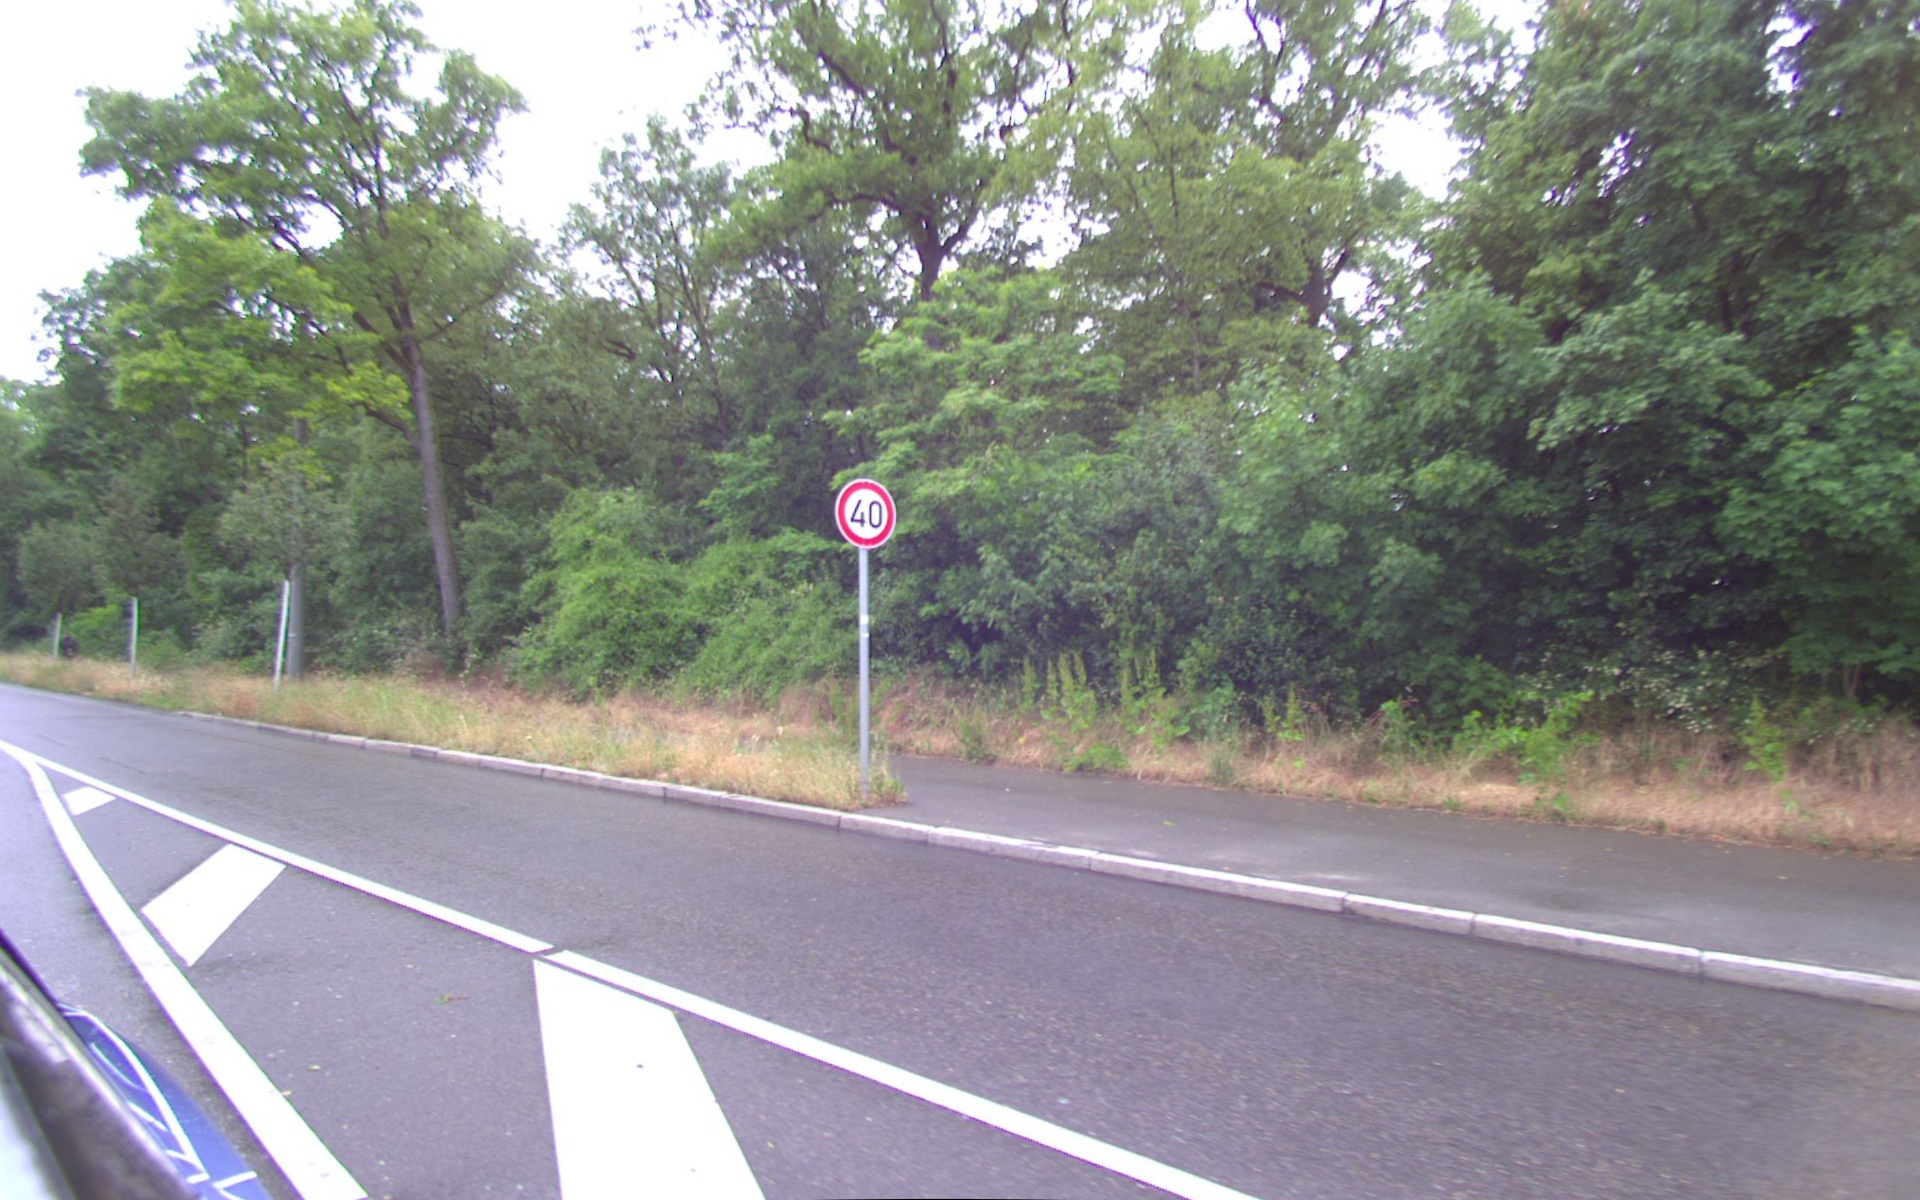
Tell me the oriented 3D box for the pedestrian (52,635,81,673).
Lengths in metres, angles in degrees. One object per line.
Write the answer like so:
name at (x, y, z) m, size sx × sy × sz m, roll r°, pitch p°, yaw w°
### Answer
pedestrian at (-38.515, 2.323, 43.637) m, size 0.731 × 1.620 × 0.773 m, roll -2°, pitch -3°, yaw 38°
